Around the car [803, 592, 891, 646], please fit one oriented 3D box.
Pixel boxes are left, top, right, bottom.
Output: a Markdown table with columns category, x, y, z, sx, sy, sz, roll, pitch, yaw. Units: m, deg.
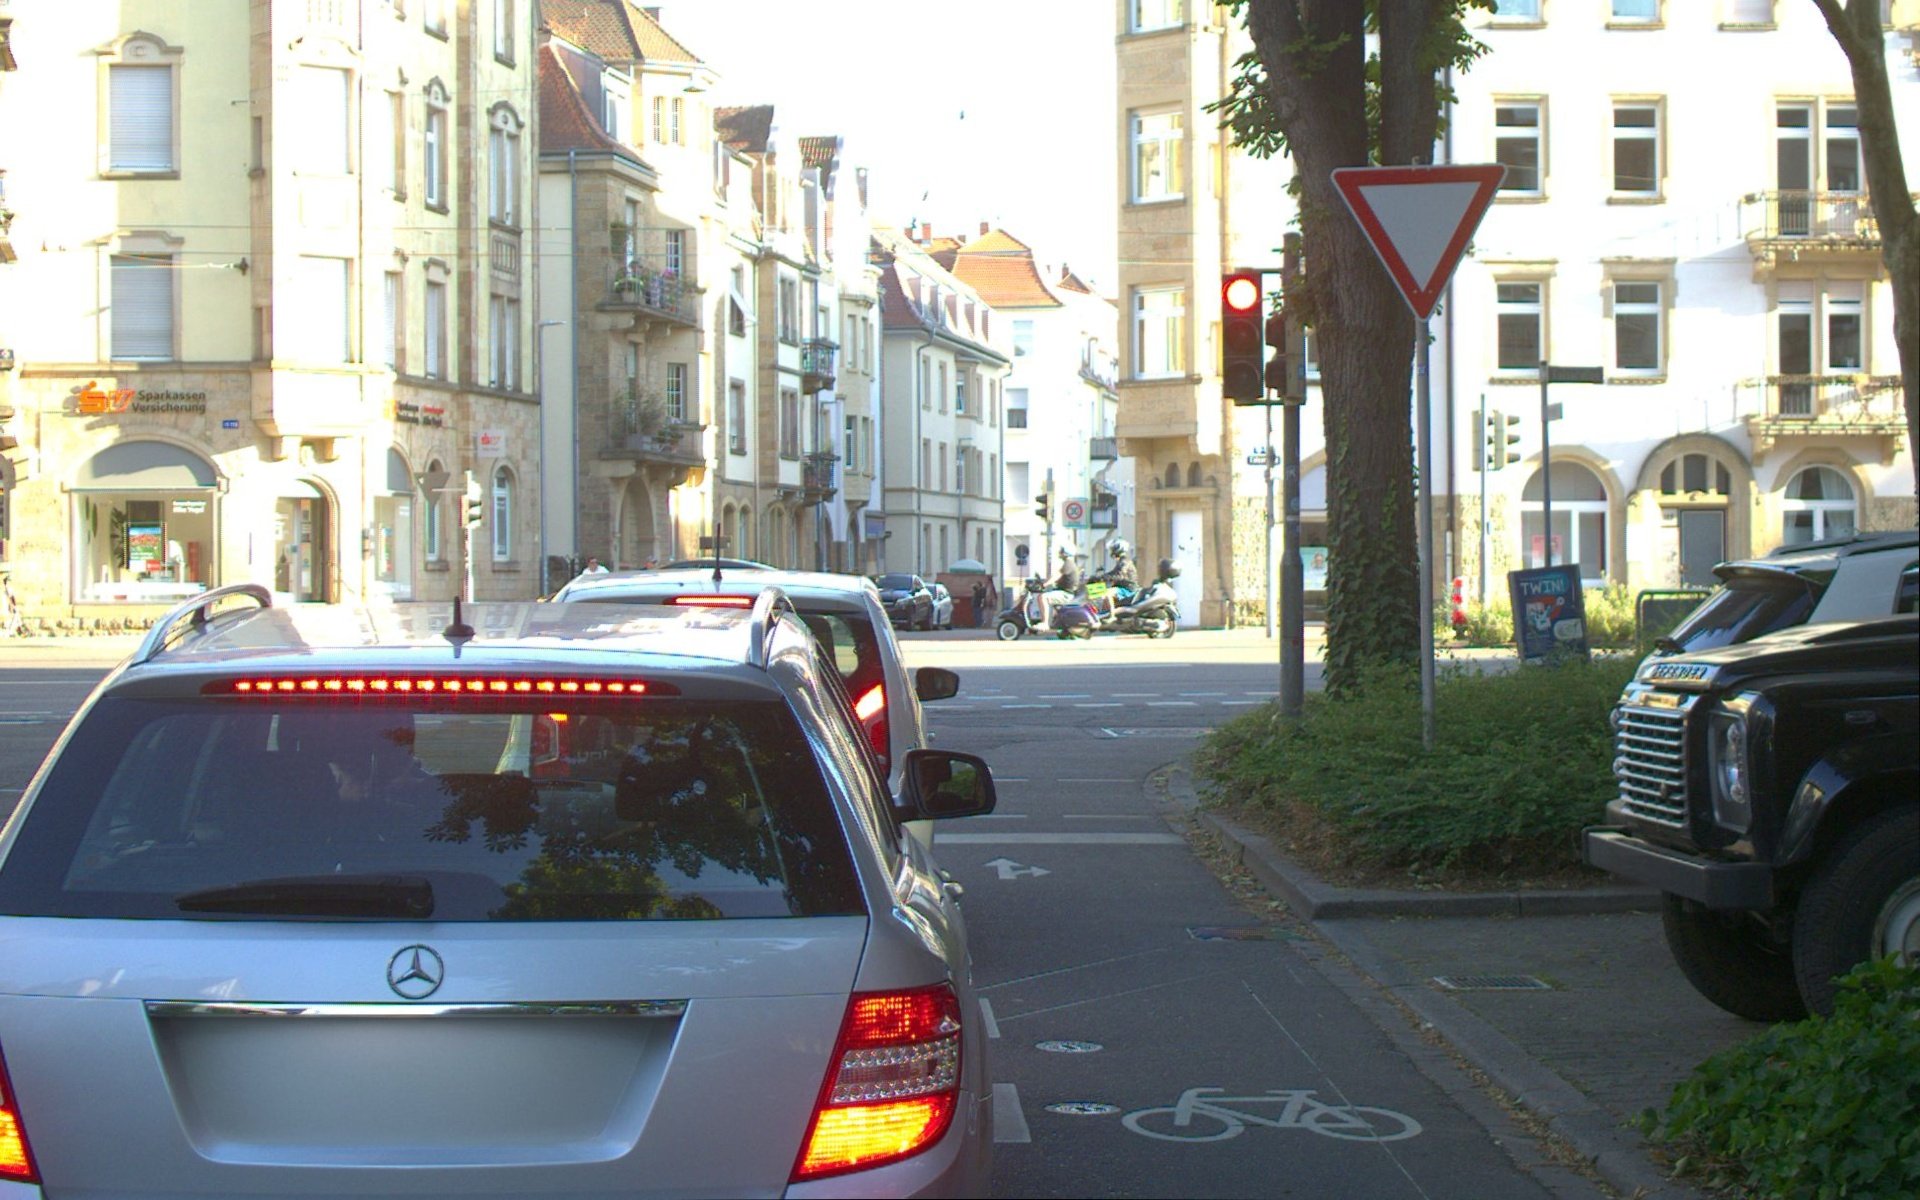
| category | x | y | z | sx | sy | sz | roll | pitch | yaw |
| --- | --- | --- | --- | --- | --- | --- | --- | --- | --- |
| car | -3.159 | 0.532 | 97.035 | 1.835 | 1.397 | 3.999 | 0 | 1 | 8 |

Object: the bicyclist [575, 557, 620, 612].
| category | x | y | z | sx | sy | sz | roll | pitch | yaw |
| --- | --- | --- | --- | --- | --- | --- | --- | --- | --- |
| bicyclist | -7.751 | -0.328 | 73.454 | 0.771 | 1.152 | 0.752 | 1 | 1 | 11 |

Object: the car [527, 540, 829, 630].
| category | x | y | z | sx | sy | sz | roll | pitch | yaw |
| --- | --- | --- | --- | --- | --- | --- | --- | --- | --- |
| car | -4.638 | -0.267 | 56.723 | 4.883 | 1.447 | 1.859 | 0 | 1 | -4 |

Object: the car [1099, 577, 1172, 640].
| category | x | y | z | sx | sy | sz | roll | pitch | yaw |
| --- | --- | --- | --- | --- | --- | --- | --- | --- | --- |
| car | 5.218 | 0.229 | 101.925 | 1.835 | 1.738 | 3.999 | 0 | 1 | 8 |

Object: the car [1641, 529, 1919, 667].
| category | x | y | z | sx | sy | sz | roll | pitch | yaw |
| --- | --- | --- | --- | --- | --- | --- | --- | --- | --- |
| car | 10.008 | -0.050 | 38.574 | 4.344 | 1.491 | 1.662 | 0 | 1 | -7 |

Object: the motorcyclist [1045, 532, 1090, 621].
| category | x | y | z | sx | sy | sz | roll | pitch | yaw |
| --- | --- | --- | --- | --- | --- | --- | --- | --- | --- |
| motorcyclist | 1.766 | -0.388 | 56.583 | 0.681 | 1.447 | 0.568 | -1 | 1 | -4 |

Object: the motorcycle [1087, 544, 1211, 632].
| category | x | y | z | sx | sy | sz | roll | pitch | yaw |
| --- | --- | --- | --- | --- | --- | --- | --- | --- | --- |
| motorcycle | 3.192 | -0.208 | 58.131 | 2.033 | 1.447 | 0.568 | -1 | 1 | -4 |

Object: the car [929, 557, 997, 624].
| category | x | y | z | sx | sy | sz | roll | pitch | yaw |
| --- | --- | --- | --- | --- | --- | --- | --- | --- | --- |
| car | 0.130 | -0.341 | 117.343 | 1.787 | 2.196 | 3.999 | 0 | 1 | 8 |

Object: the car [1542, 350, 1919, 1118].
| category | x | y | z | sx | sy | sz | roll | pitch | yaw |
| --- | --- | --- | --- | --- | --- | --- | --- | --- | --- |
| car | 4.136 | 0.304 | 10.115 | 4.465 | 2.029 | 1.701 | -1 | 0 | -3 |

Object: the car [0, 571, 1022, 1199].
| category | x | y | z | sx | sy | sz | roll | pitch | yaw |
| --- | --- | --- | --- | --- | --- | --- | --- | --- | --- |
| car | -0.897 | 0.682 | 6.955 | 1.777 | 1.447 | 4.548 | 0 | 1 | -2 |

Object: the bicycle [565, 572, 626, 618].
| category | x | y | z | sx | sy | sz | roll | pitch | yaw |
| --- | --- | --- | --- | --- | --- | --- | --- | --- | --- |
| bicycle | -7.769 | -0.106 | 73.379 | 0.771 | 0.936 | 1.939 | 1 | 1 | 11 |

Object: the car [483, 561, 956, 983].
| category | x | y | z | sx | sy | sz | roll | pitch | yaw |
| --- | --- | --- | --- | --- | --- | --- | --- | --- | --- |
| car | -0.914 | 0.572 | 14.045 | 1.619 | 1.442 | 4.345 | 0 | 1 | -2 |

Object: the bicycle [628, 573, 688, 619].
| category | x | y | z | sx | sy | sz | roll | pitch | yaw |
| --- | --- | --- | --- | --- | --- | --- | --- | --- | --- |
| bicycle | -6.445 | -0.096 | 73.467 | 0.771 | 0.931 | 1.939 | 1 | 1 | 11 |

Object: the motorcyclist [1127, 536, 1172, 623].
| category | x | y | z | sx | sy | sz | roll | pitch | yaw |
| --- | --- | --- | --- | --- | --- | --- | --- | --- | --- |
| motorcyclist | 3.207 | -0.352 | 58.130 | 0.681 | 1.447 | 0.568 | -1 | 1 | -4 |

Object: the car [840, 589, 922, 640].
| category | x | y | z | sx | sy | sz | roll | pitch | yaw |
| --- | --- | --- | --- | --- | --- | --- | --- | --- | --- |
| car | -2.325 | 0.405 | 102.525 | 1.835 | 1.397 | 3.999 | 0 | 1 | 8 |

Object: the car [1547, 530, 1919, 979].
| category | x | y | z | sx | sy | sz | roll | pitch | yaw |
| --- | --- | --- | --- | --- | --- | --- | --- | --- | --- |
| car | 4.291 | 0.504 | 13.085 | 3.723 | 1.564 | 1.709 | -1 | 0 | -4 |

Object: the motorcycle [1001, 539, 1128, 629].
| category | x | y | z | sx | sy | sz | roll | pitch | yaw |
| --- | --- | --- | --- | --- | --- | --- | --- | --- | --- |
| motorcycle | 1.715 | -0.269 | 56.585 | 2.033 | 1.447 | 0.568 | -1 | 1 | -4 |

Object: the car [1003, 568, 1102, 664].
| category | x | y | z | sx | sy | sz | roll | pitch | yaw |
| --- | --- | --- | --- | --- | --- | --- | --- | --- | --- |
| car | 2.341 | 0.362 | 85.893 | 2.031 | 2.272 | 3.999 | 0 | 1 | 8 |

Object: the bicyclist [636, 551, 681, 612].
| category | x | y | z | sx | sy | sz | roll | pitch | yaw |
| --- | --- | --- | --- | --- | --- | --- | --- | --- | --- |
| bicyclist | -6.444 | -0.389 | 73.464 | 0.771 | 1.285 | 0.752 | 1 | 1 | 11 |

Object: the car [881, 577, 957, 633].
| category | x | y | z | sx | sy | sz | roll | pitch | yaw |
| --- | --- | --- | --- | --- | --- | --- | --- | --- | --- |
| car | -1.279 | 0.129 | 108.755 | 1.835 | 1.657 | 3.999 | 0 | 1 | 8 |
